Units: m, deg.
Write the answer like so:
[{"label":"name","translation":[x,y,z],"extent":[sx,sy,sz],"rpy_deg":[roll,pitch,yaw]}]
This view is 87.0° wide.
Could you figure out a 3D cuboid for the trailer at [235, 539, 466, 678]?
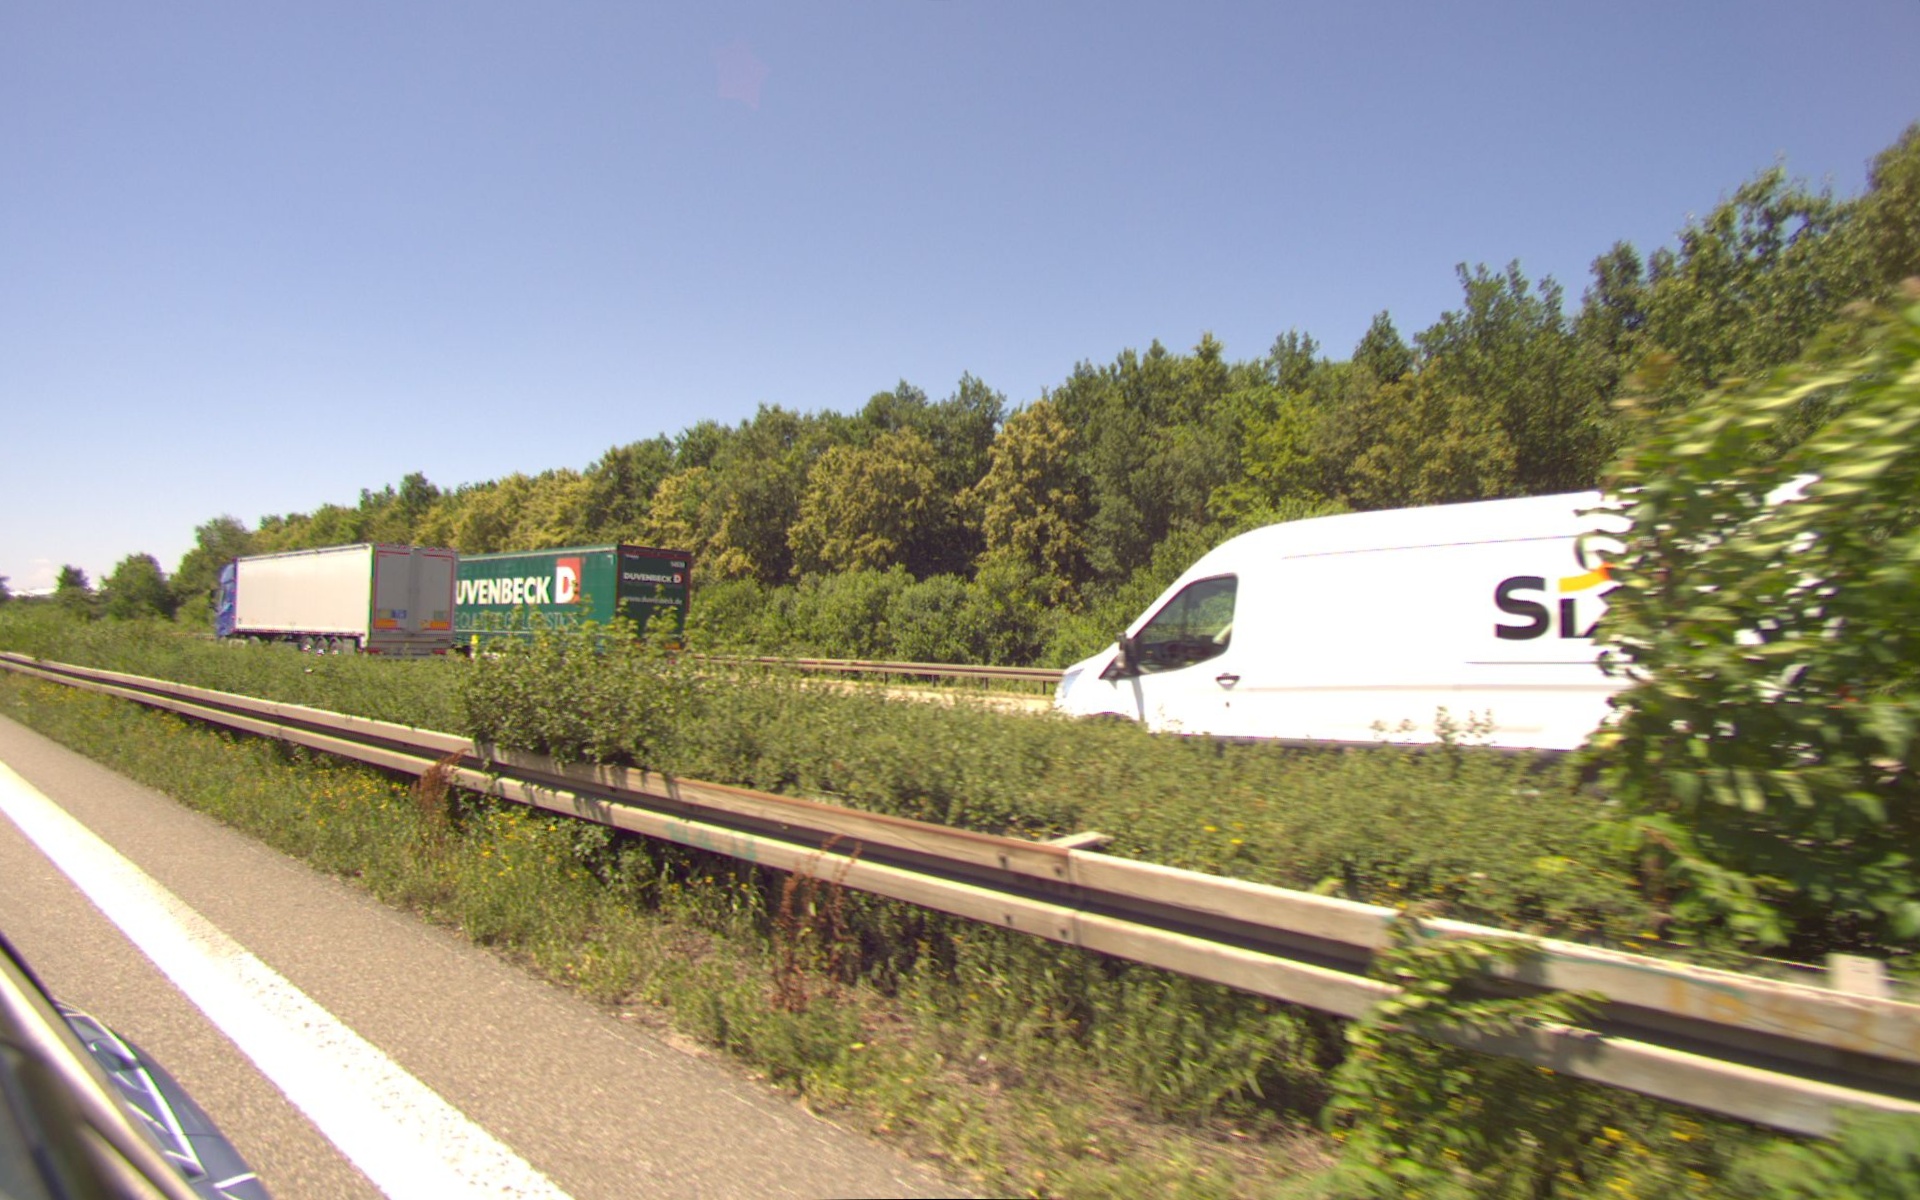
[{"label":"trailer","translation":[-21.505,0.370,35.069],"extent":[13.510,4.040,2.840],"rpy_deg":[-1,-2,41]}]

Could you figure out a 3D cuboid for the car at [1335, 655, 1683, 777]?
[{"label":"car","translation":[7.566,1.500,14.153],"extent":[3.998,1.348,1.775],"rpy_deg":[-1,-2,41]}]

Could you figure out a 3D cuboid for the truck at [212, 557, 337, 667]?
[{"label":"truck","translation":[-27.044,0.502,39.877],"extent":[4.997,4.040,2.840],"rpy_deg":[-1,-2,41]}]

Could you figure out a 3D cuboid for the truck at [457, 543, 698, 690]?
[{"label":"truck","translation":[-12.714,0.564,32.993],"extent":[9.995,4.145,2.982],"rpy_deg":[-1,-2,41]}]

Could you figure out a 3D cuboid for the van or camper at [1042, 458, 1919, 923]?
[{"label":"van or camper","translation":[4.001,0.510,7.337],"extent":[6.996,2.388,1.973],"rpy_deg":[-1,-2,41]}]
